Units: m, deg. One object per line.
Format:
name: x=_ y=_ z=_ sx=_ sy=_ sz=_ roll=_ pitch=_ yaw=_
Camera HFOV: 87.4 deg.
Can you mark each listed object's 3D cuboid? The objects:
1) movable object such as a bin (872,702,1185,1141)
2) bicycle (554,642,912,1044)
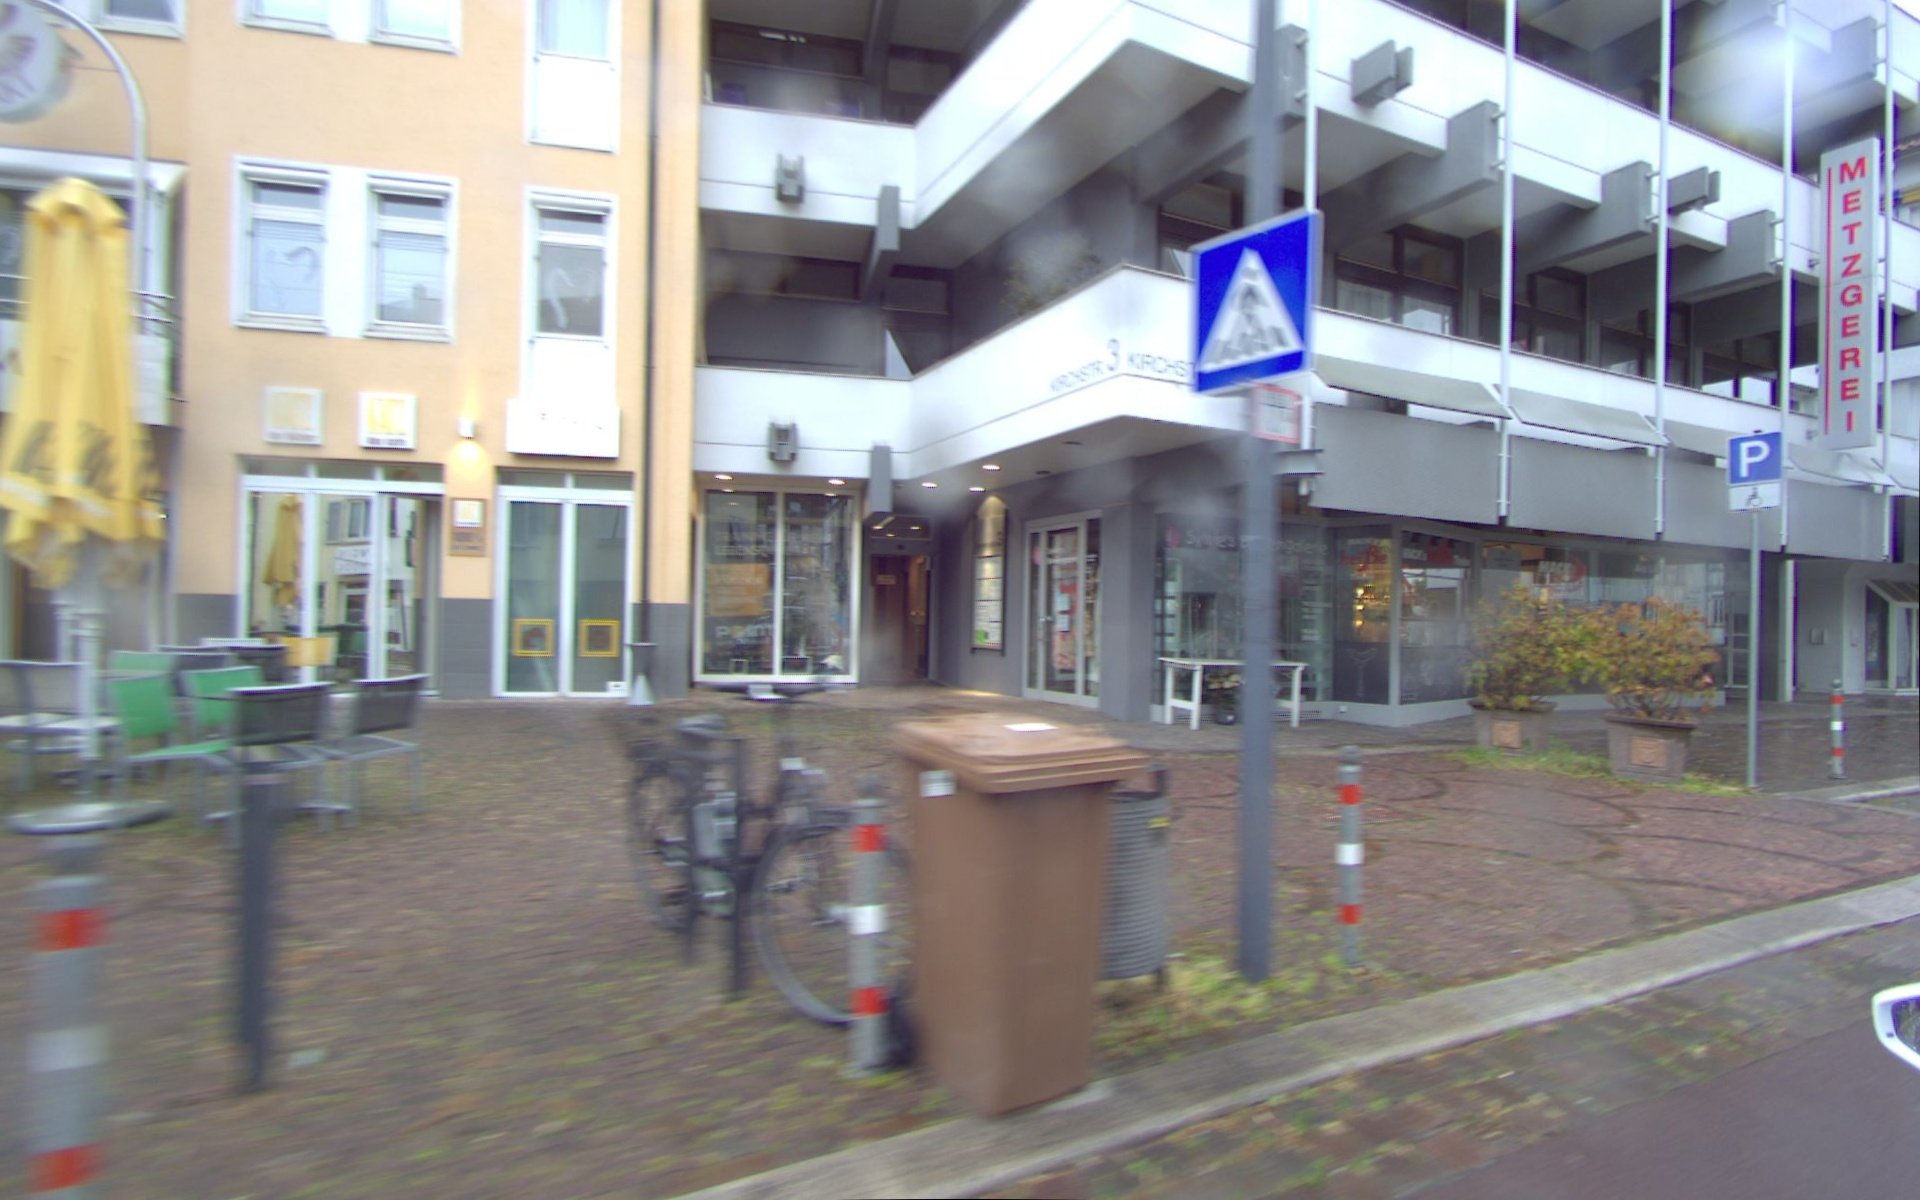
movable object such as a bin: x=0.203 y=0.863 z=3.018 sx=0.628 sy=1.033 sz=0.680 roll=2 pitch=-1 yaw=-44
bicycle: x=-0.960 y=0.794 z=3.905 sx=1.727 sy=1.179 sz=0.442 roll=1 pitch=-2 yaw=45
